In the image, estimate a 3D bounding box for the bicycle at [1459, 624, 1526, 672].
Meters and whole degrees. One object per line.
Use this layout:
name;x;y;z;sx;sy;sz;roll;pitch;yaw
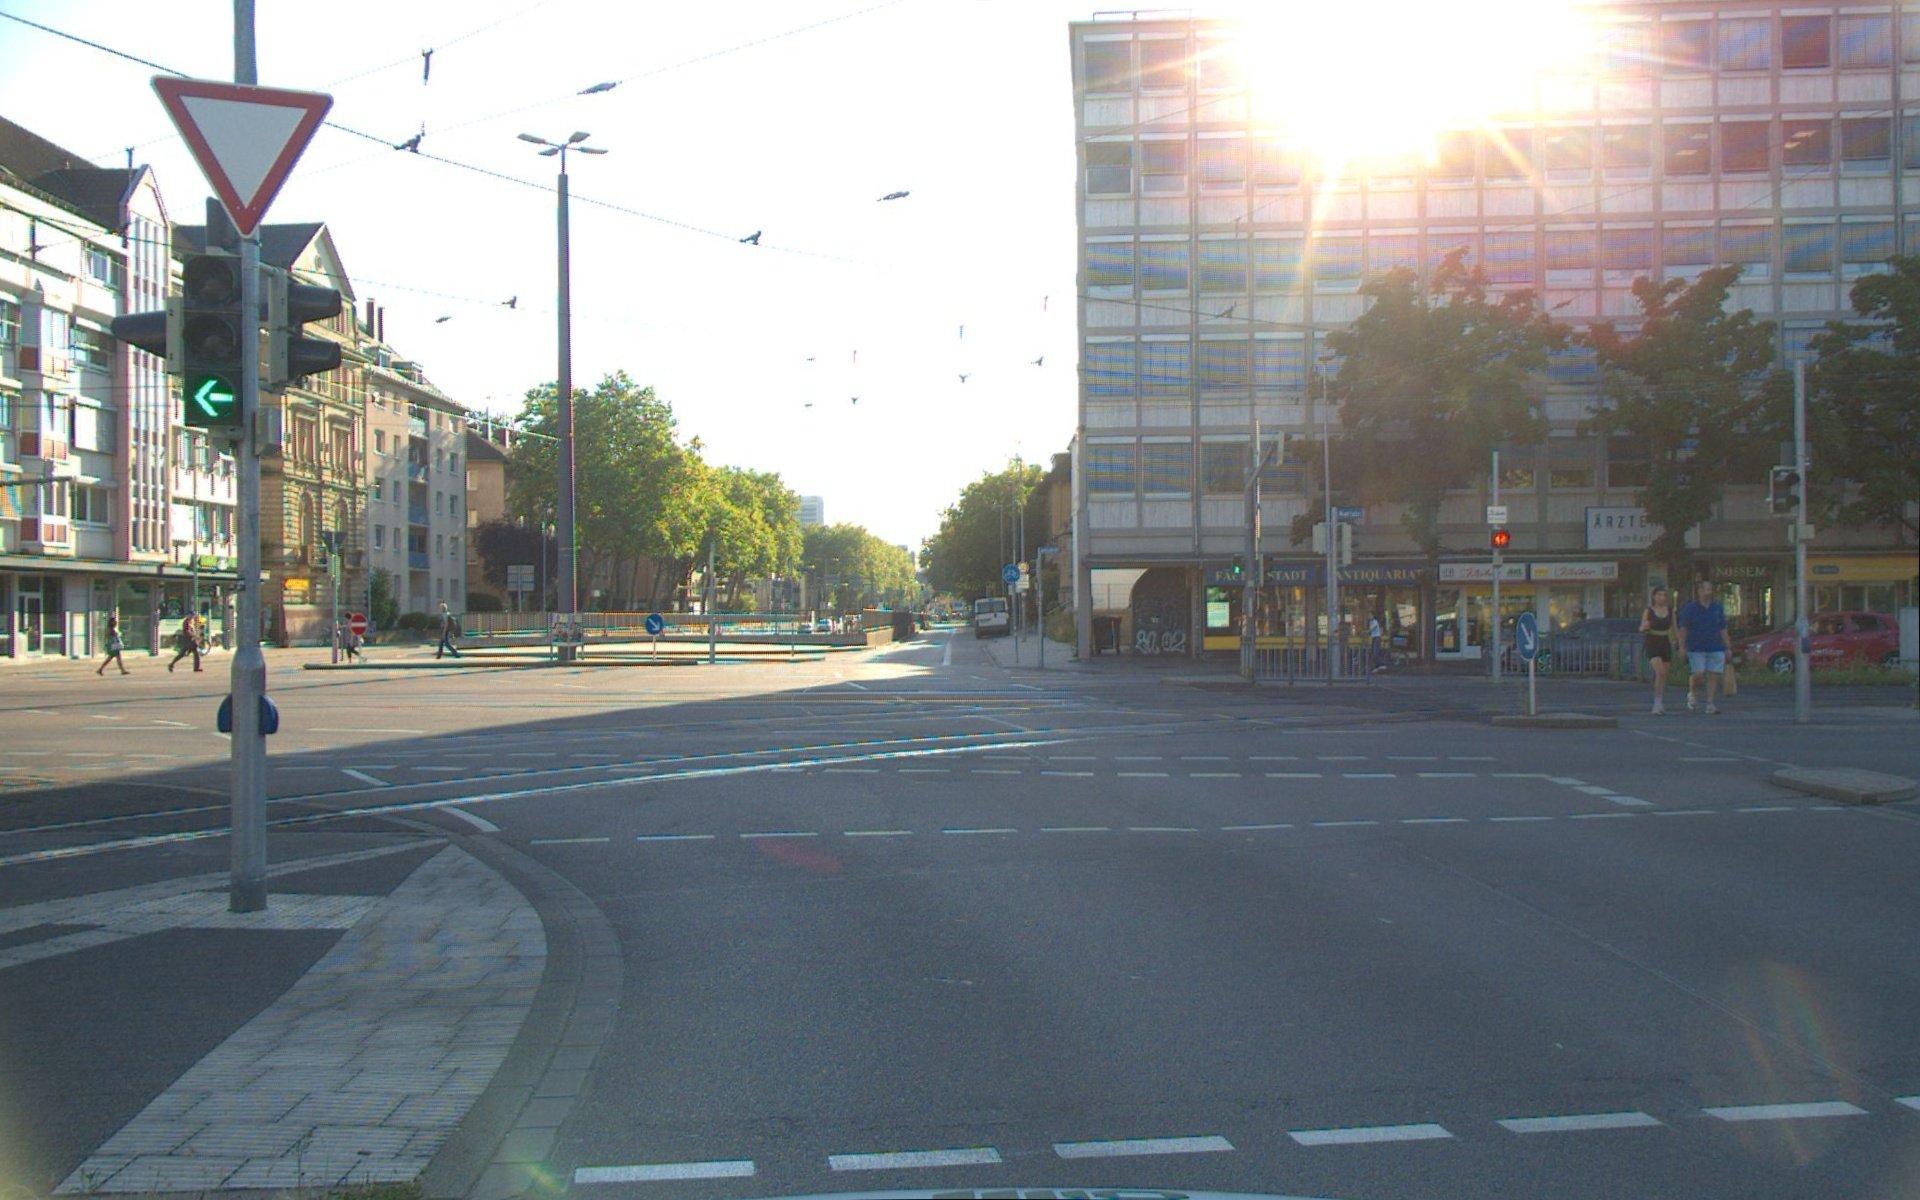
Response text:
bicycle;14.778;1.309;45.953;0.735;1.163;2.638;1;2;-6

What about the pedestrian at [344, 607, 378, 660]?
pedestrian;-17.382;0.983;47.994;0.844;1.491;0.679;2;-6;-30

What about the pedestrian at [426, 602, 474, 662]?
pedestrian;-15.450;0.964;50.136;1.171;1.761;0.855;1;-1;-5

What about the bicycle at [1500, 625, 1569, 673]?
bicycle;15.949;1.340;46.014;0.735;1.163;2.638;1;2;-6

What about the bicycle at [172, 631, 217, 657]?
bicycle;-32.182;1.841;69.561;0.441;1.089;2.093;1;-1;16

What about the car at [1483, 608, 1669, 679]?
car;15.306;1.070;41.248;3.982;1.646;1.845;1;-1;4

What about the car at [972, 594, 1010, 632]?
car;1.900;0.807;100.385;2.238;2.210;4.834;1;-1;1

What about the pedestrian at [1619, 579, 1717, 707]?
pedestrian;9.668;0.578;22.594;0.690;1.712;1.028;2;-1;-38

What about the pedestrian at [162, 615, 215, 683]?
pedestrian;-22.625;1.441;48.528;1.171;1.916;0.856;1;2;-5

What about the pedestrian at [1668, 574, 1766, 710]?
pedestrian;10.437;0.568;22.823;0.690;1.824;1.028;2;-1;-38

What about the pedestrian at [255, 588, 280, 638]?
pedestrian;-34.164;0.661;81.647;0.910;2.440;0.958;1;-1;-11

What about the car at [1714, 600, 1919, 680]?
car;19.072;0.878;36.647;3.903;1.646;1.845;1;-1;4

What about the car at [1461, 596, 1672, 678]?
car;13.025;0.789;35.679;3.903;1.646;1.845;1;-1;4

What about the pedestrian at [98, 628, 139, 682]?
pedestrian;-23.497;1.529;46.197;0.691;1.479;0.855;1;-1;-5

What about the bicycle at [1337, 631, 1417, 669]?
bicycle;11.296;1.351;44.818;1.983;0.957;0.671;1;-1;-2

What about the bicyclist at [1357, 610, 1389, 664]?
bicyclist;11.198;0.992;44.824;0.665;1.449;0.671;1;-1;-1
